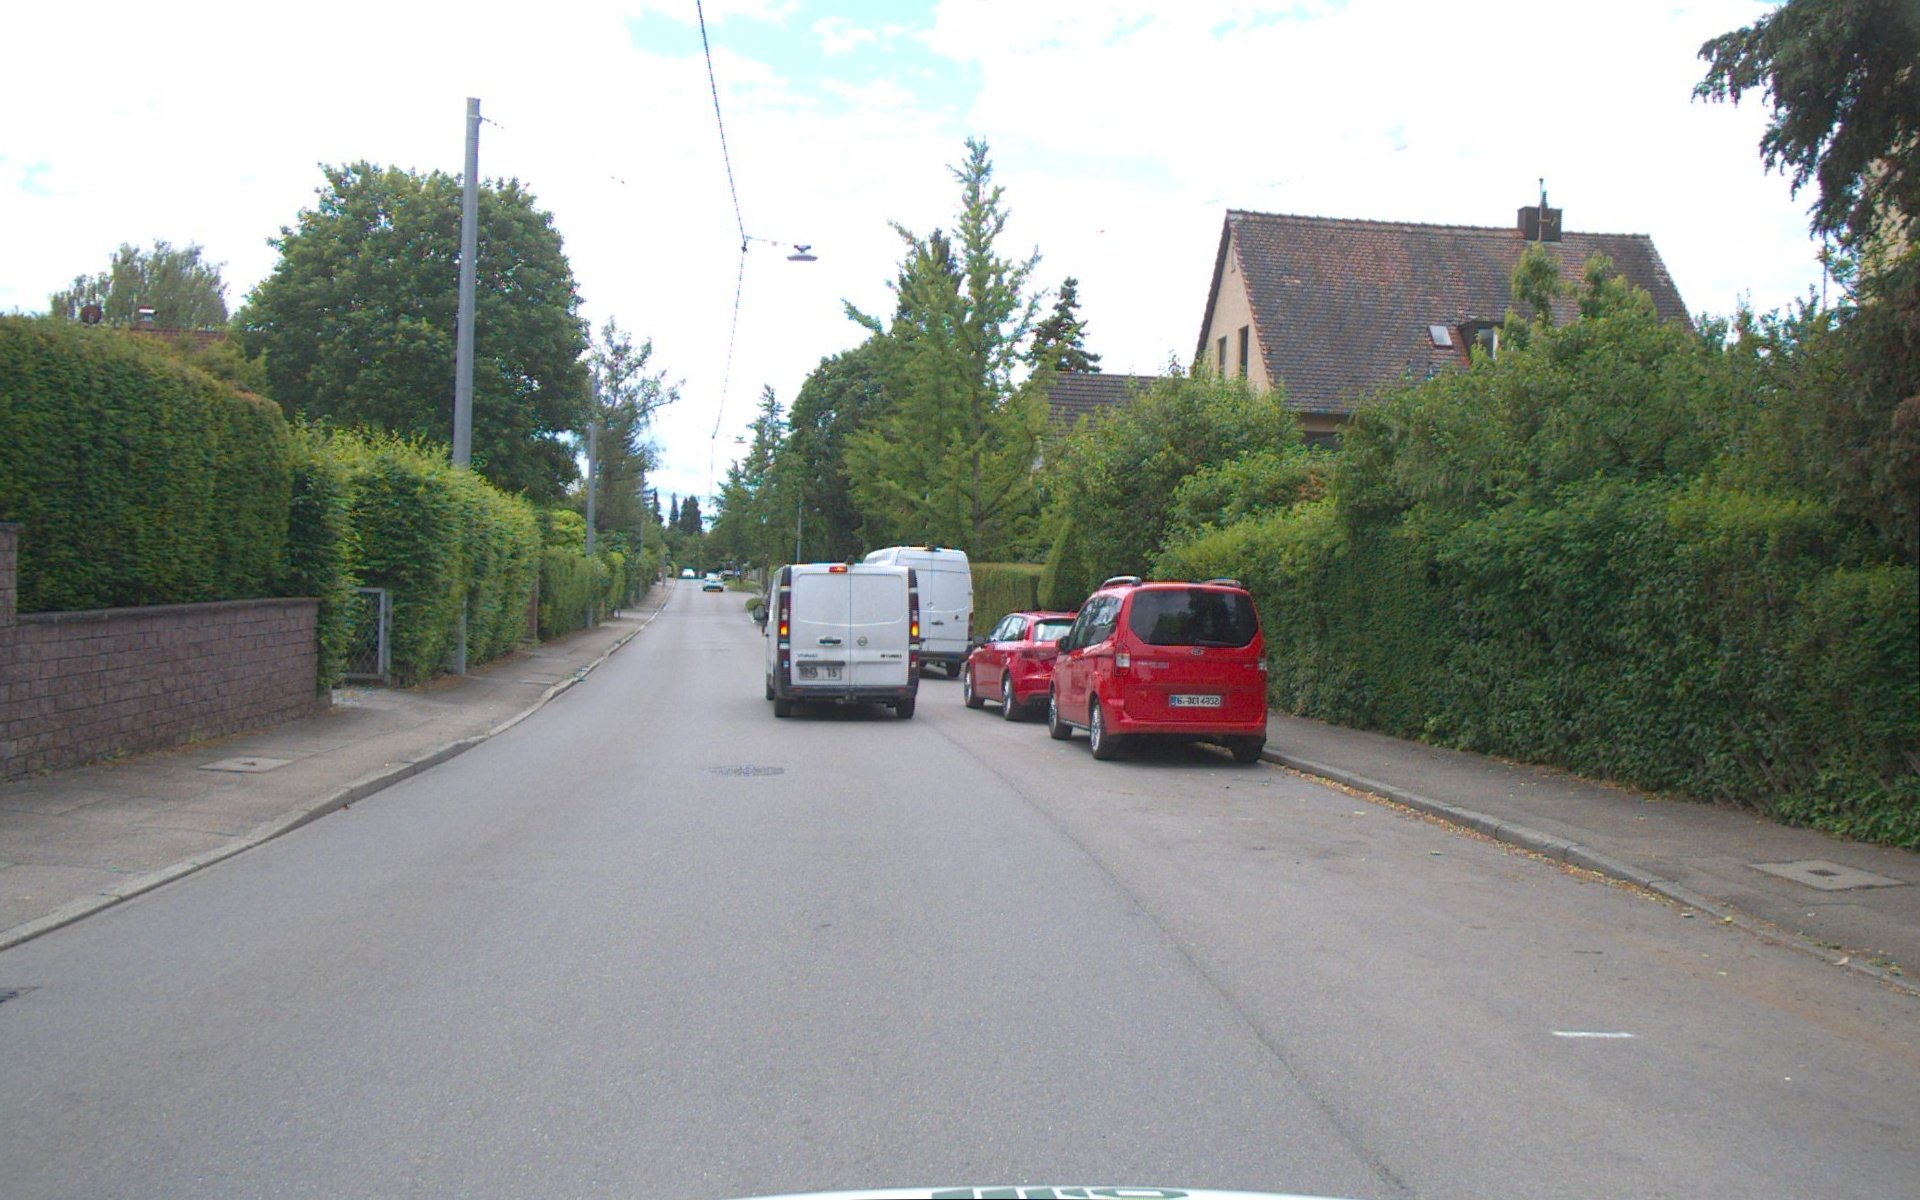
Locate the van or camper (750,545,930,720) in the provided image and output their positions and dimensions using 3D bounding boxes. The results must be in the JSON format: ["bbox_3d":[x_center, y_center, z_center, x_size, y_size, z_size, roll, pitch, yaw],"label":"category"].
[{"bbox_3d":[-1.771,0.330,22.762,1.889,2.048,4.818,3,1,-10],"label":"van or camper"}]

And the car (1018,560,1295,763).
[{"bbox_3d":[1.940,0.581,17.952,1.728,1.828,4.940,3,0,-8],"label":"car"}]

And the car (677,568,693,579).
[{"bbox_3d":[-39.916,-3.850,240.184,1.655,1.501,3.580,2,0,-2],"label":"car"}]

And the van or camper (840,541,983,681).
[{"bbox_3d":[-1.202,0.236,36.716,2.030,2.721,6.311,3,-1,-11],"label":"van or camper"}]

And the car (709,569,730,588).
[{"bbox_3d":[-22.919,-2.078,157.373,1.744,1.679,3.635,2,1,-11],"label":"car"}]

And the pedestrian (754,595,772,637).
[{"bbox_3d":[-7.545,0.609,63.358,0.545,1.586,0.551,2,1,-12],"label":"pedestrian"}]

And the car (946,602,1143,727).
[{"bbox_3d":[1.069,0.826,23.090,1.682,1.493,4.256,3,0,-12],"label":"car"}]
